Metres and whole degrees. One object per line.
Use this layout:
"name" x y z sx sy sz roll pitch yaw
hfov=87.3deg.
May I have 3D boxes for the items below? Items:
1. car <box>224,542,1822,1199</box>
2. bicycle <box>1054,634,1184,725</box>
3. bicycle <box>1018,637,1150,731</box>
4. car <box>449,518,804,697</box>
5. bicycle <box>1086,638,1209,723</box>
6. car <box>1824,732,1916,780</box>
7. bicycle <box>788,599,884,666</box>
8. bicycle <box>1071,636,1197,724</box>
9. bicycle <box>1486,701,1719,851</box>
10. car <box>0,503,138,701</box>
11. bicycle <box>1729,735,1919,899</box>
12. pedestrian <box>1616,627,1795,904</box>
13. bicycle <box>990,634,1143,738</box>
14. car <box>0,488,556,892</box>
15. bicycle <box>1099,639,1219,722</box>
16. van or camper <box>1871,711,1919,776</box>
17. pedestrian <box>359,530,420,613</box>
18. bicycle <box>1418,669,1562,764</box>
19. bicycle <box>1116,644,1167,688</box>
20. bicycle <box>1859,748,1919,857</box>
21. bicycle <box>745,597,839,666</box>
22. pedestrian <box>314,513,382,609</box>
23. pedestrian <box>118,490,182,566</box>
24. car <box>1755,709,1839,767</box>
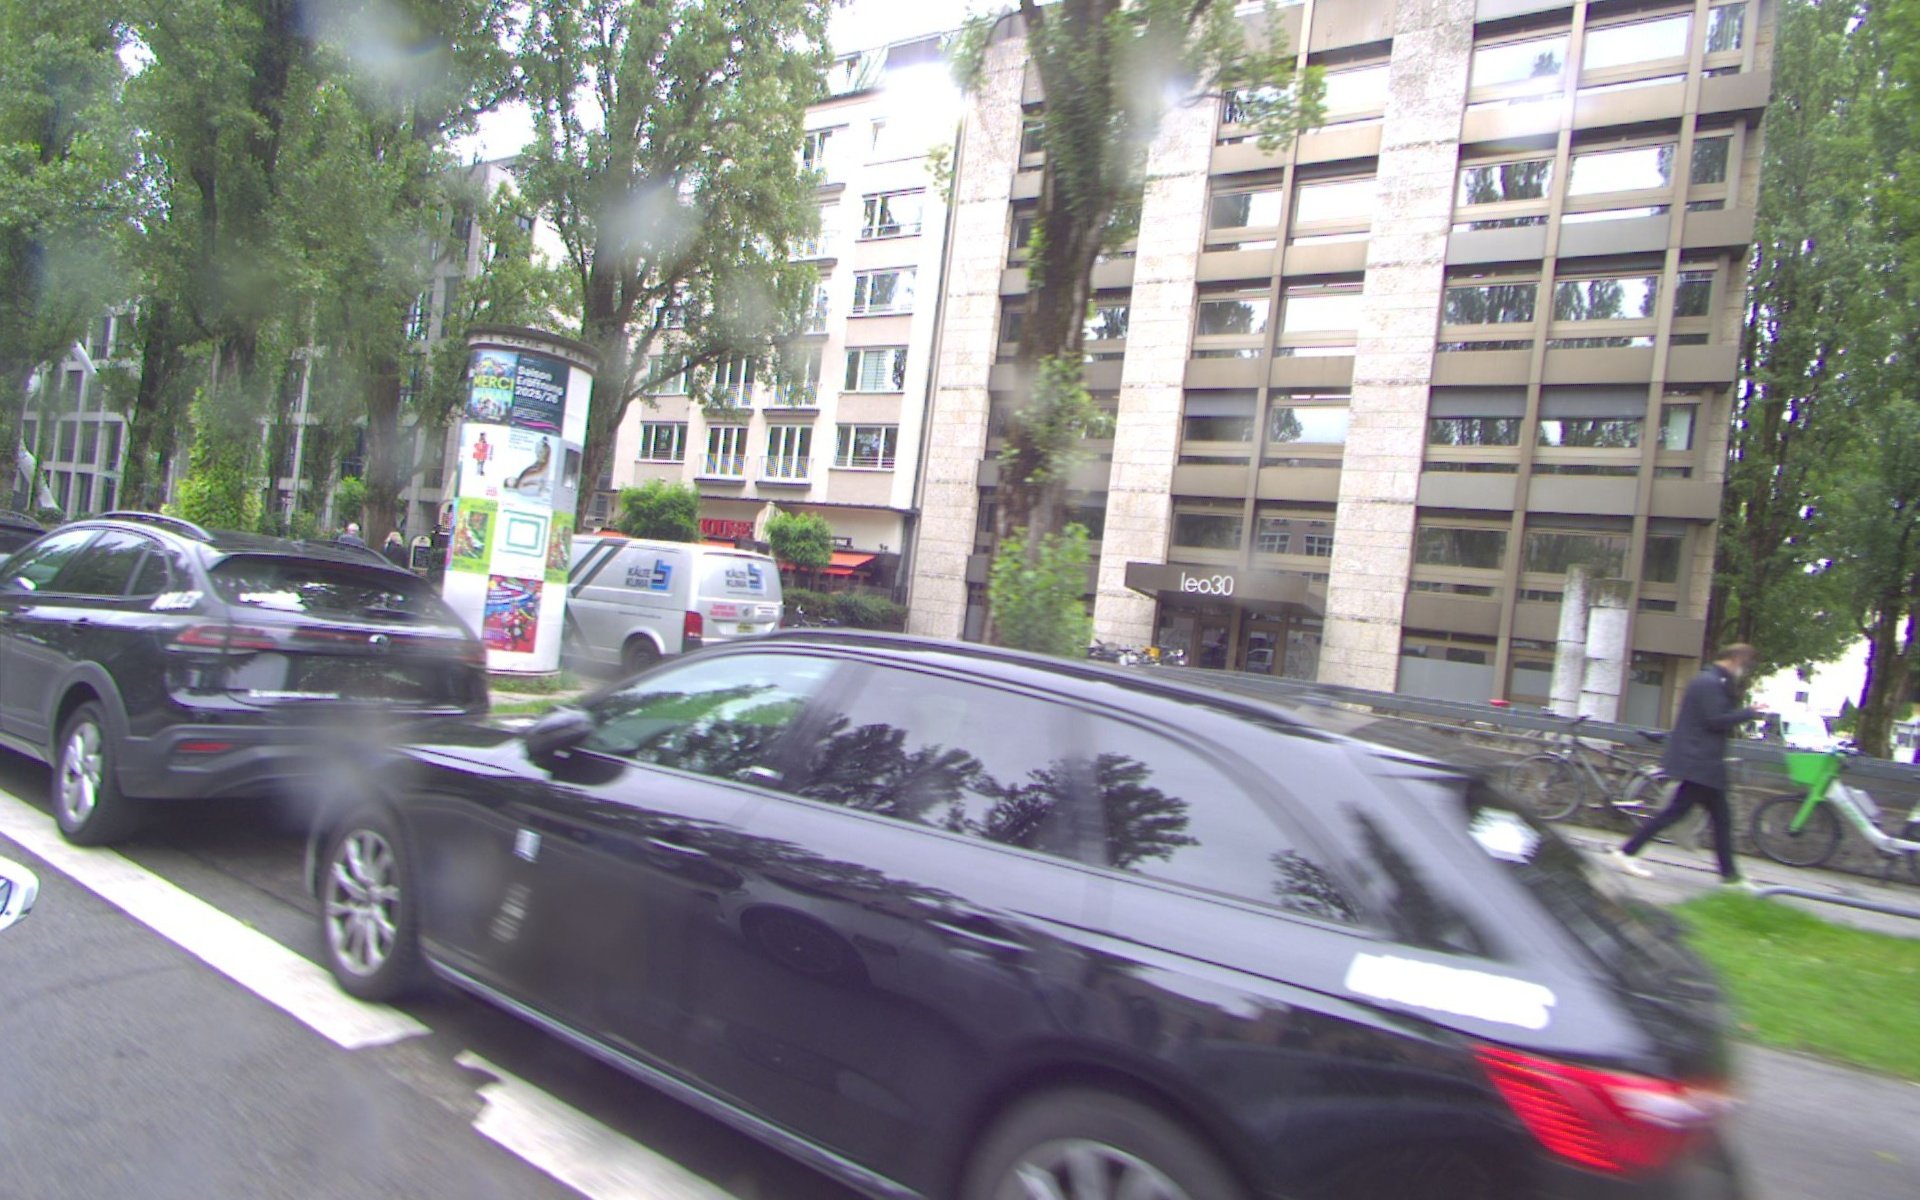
"car" -0.321 0.796 3.246 4.376 1.443 1.754 6 -2 33
"bicycle" 2.498 1.234 15.916 1.838 1.174 0.586 7 0 32
"bicycle" 1.900 1.279 15.538 1.838 1.174 0.586 7 0 32
"car" -4.851 0.052 14.320 5.117 1.919 1.811 6 -1 32
"bicycle" 3.151 1.340 16.958 1.838 1.174 0.586 7 0 32
"car" 38.408 6.546 42.566 1.836 1.517 3.870 5 -2 27
"bicycle" -2.620 0.676 21.205 1.835 1.174 0.587 7 0 24
"bicycle" 2.827 1.287 16.437 1.838 1.174 0.586 7 0 32
"bicycle" 6.555 1.769 10.375 1.835 1.174 0.587 7 0 23
"car" -9.348 -0.193 8.851 4.162 1.544 1.747 7 -2 29
"bicycle" 8.103 1.941 8.968 1.844 1.174 0.585 6 0 43
"pedestrian" 5.826 1.251 7.927 0.890 1.952 0.715 7 0 32
"bicycle" 1.467 1.180 14.070 1.952 1.174 0.586 7 0 32
"car" -4.369 0.306 5.778 3.843 1.544 1.746 6 -2 32
"bicycle" 3.448 1.389 17.495 1.838 1.174 0.586 7 0 32
"van or camper" 50.144 7.522 52.062 2.423 3.083 7.310 7 -1 28
"pedestrian" -12.006 -0.600 21.171 0.820 1.626 0.696 7 0 36
"bicycle" 8.195 1.778 15.584 1.838 1.174 0.586 7 0 32
"bicycle" 5.294 1.934 29.248 0.637 1.169 2.242 7 -1 30
"bicycle" 12.924 2.713 12.923 1.838 1.292 0.720 7 0 32
"bicycle" -3.215 0.636 19.467 0.578 1.174 1.865 7 -1 32
"pedestrian" -12.509 -0.801 20.567 0.830 1.825 0.748 7 0 36
"pedestrian" -20.683 -1.838 25.688 0.846 1.773 0.909 7 0 32
"car" 43.573 7.120 52.502 2.053 2.461 5.605 5 -2 28
